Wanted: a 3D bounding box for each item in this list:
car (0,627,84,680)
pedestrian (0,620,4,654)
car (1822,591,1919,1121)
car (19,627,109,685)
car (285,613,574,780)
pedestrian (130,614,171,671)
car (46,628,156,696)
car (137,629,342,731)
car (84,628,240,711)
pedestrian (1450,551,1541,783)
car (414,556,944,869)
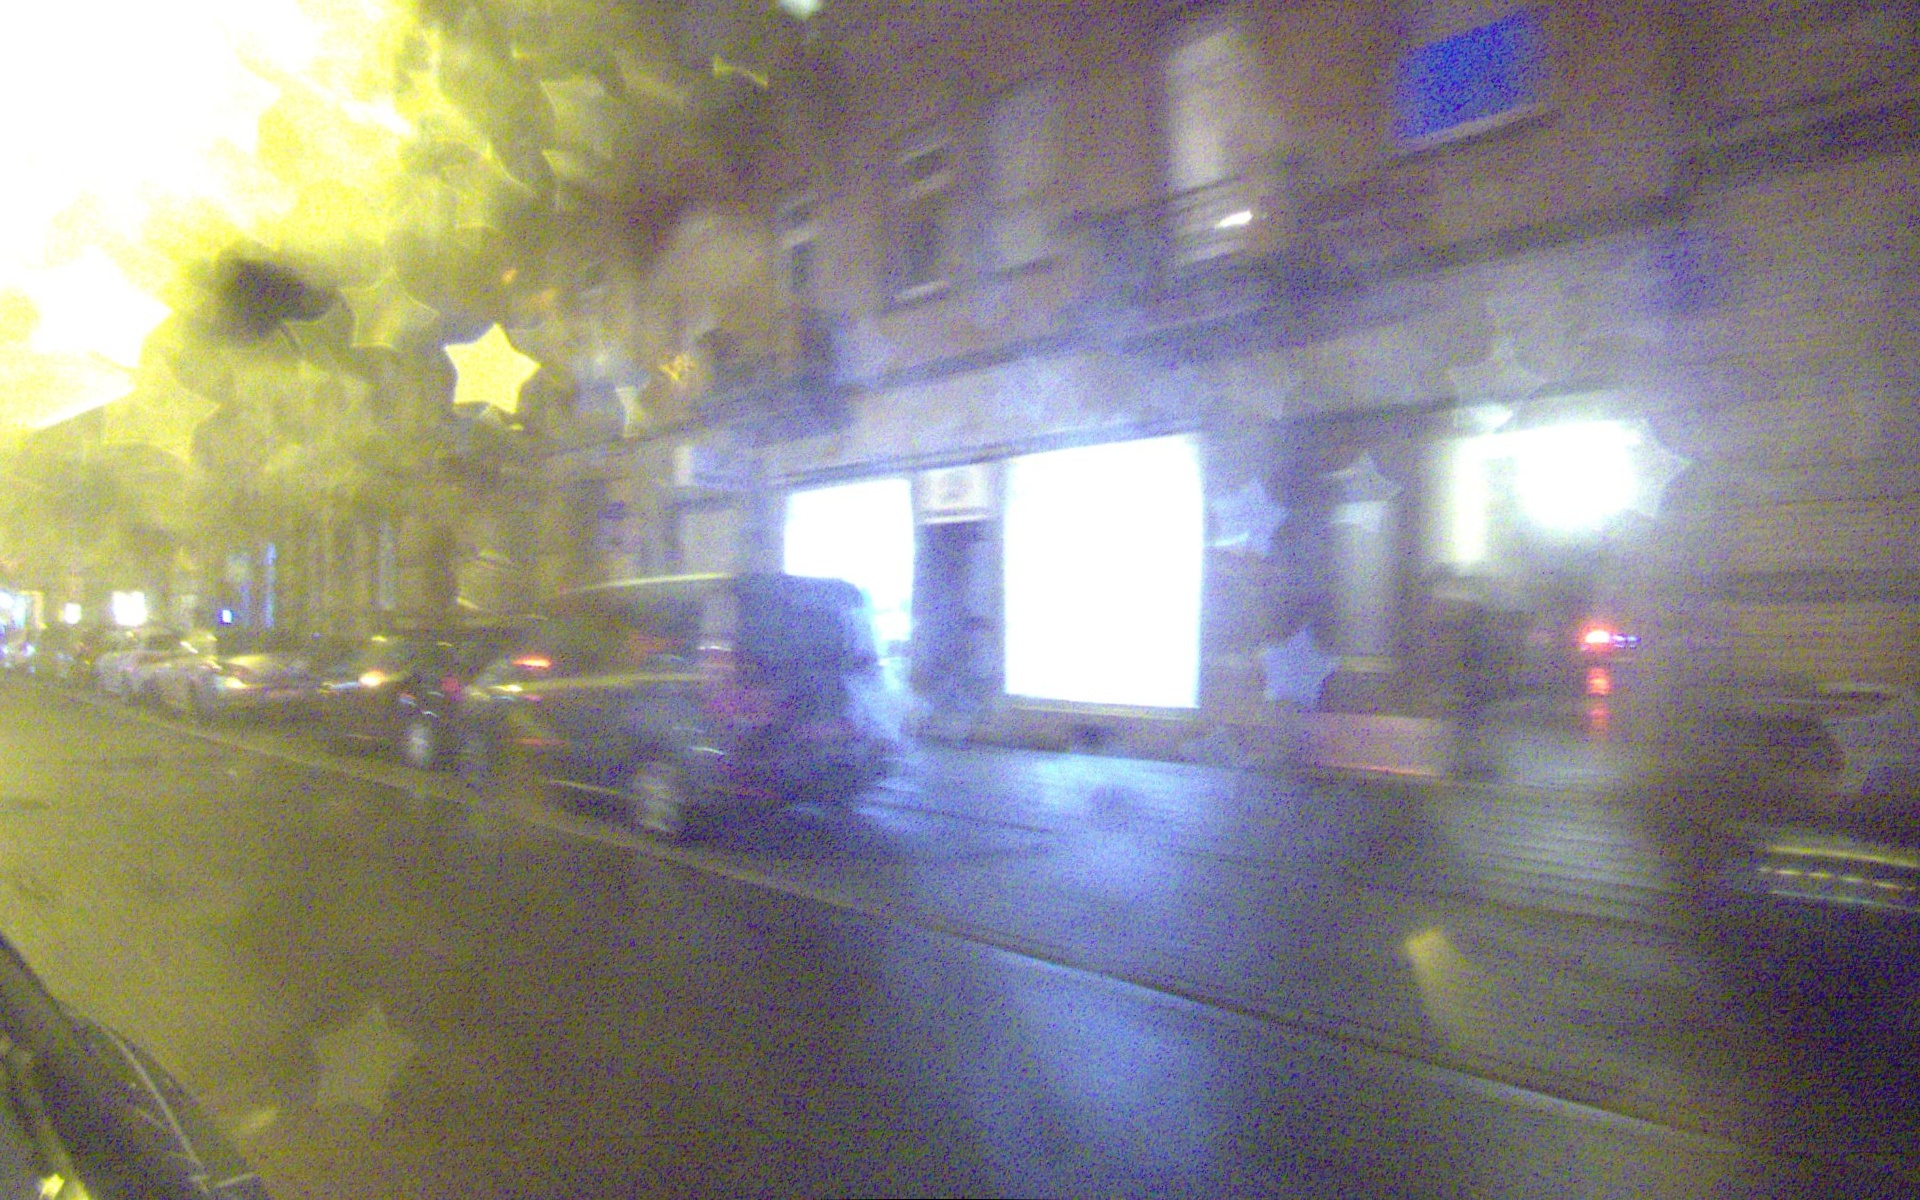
[{"bbox_3d":[-27.866,1.623,30.567,3.962,1.490,1.674,-3,-3,43],"label":"car"},{"bbox_3d":[-56.929,2.192,59.636,0.587,2.029,0.766,-1,0,41],"label":"pedestrian"},{"bbox_3d":[4.428,0.681,2.294,3.718,1.471,1.552,-2,-2,42],"label":"car"},{"bbox_3d":[-24.789,1.536,27.969,1.673,1.490,3.385,1,-3,-45],"label":"car"},{"bbox_3d":[-6.108,0.968,11.499,3.718,1.587,1.708,-2,-2,42],"label":"car"},{"bbox_3d":[-26.303,1.366,32.891,0.629,1.801,0.900,-1,0,42],"label":"pedestrian"},{"bbox_3d":[-20.227,1.403,23.799,3.382,1.464,1.512,-2,-2,42],"label":"car"},{"bbox_3d":[-11.627,1.182,16.207,4.553,1.402,1.708,-2,-2,42],"label":"car"},{"bbox_3d":[-15.938,1.304,20.137,4.271,1.464,1.708,-2,-2,42],"label":"car"},{"bbox_3d":[4.378,0.539,8.273,0.460,1.802,0.587,-4,-5,44],"label":"pedestrian"},{"bbox_3d":[-2.537,0.732,8.294,4.827,1.843,1.882,-2,-2,42],"label":"car"}]
